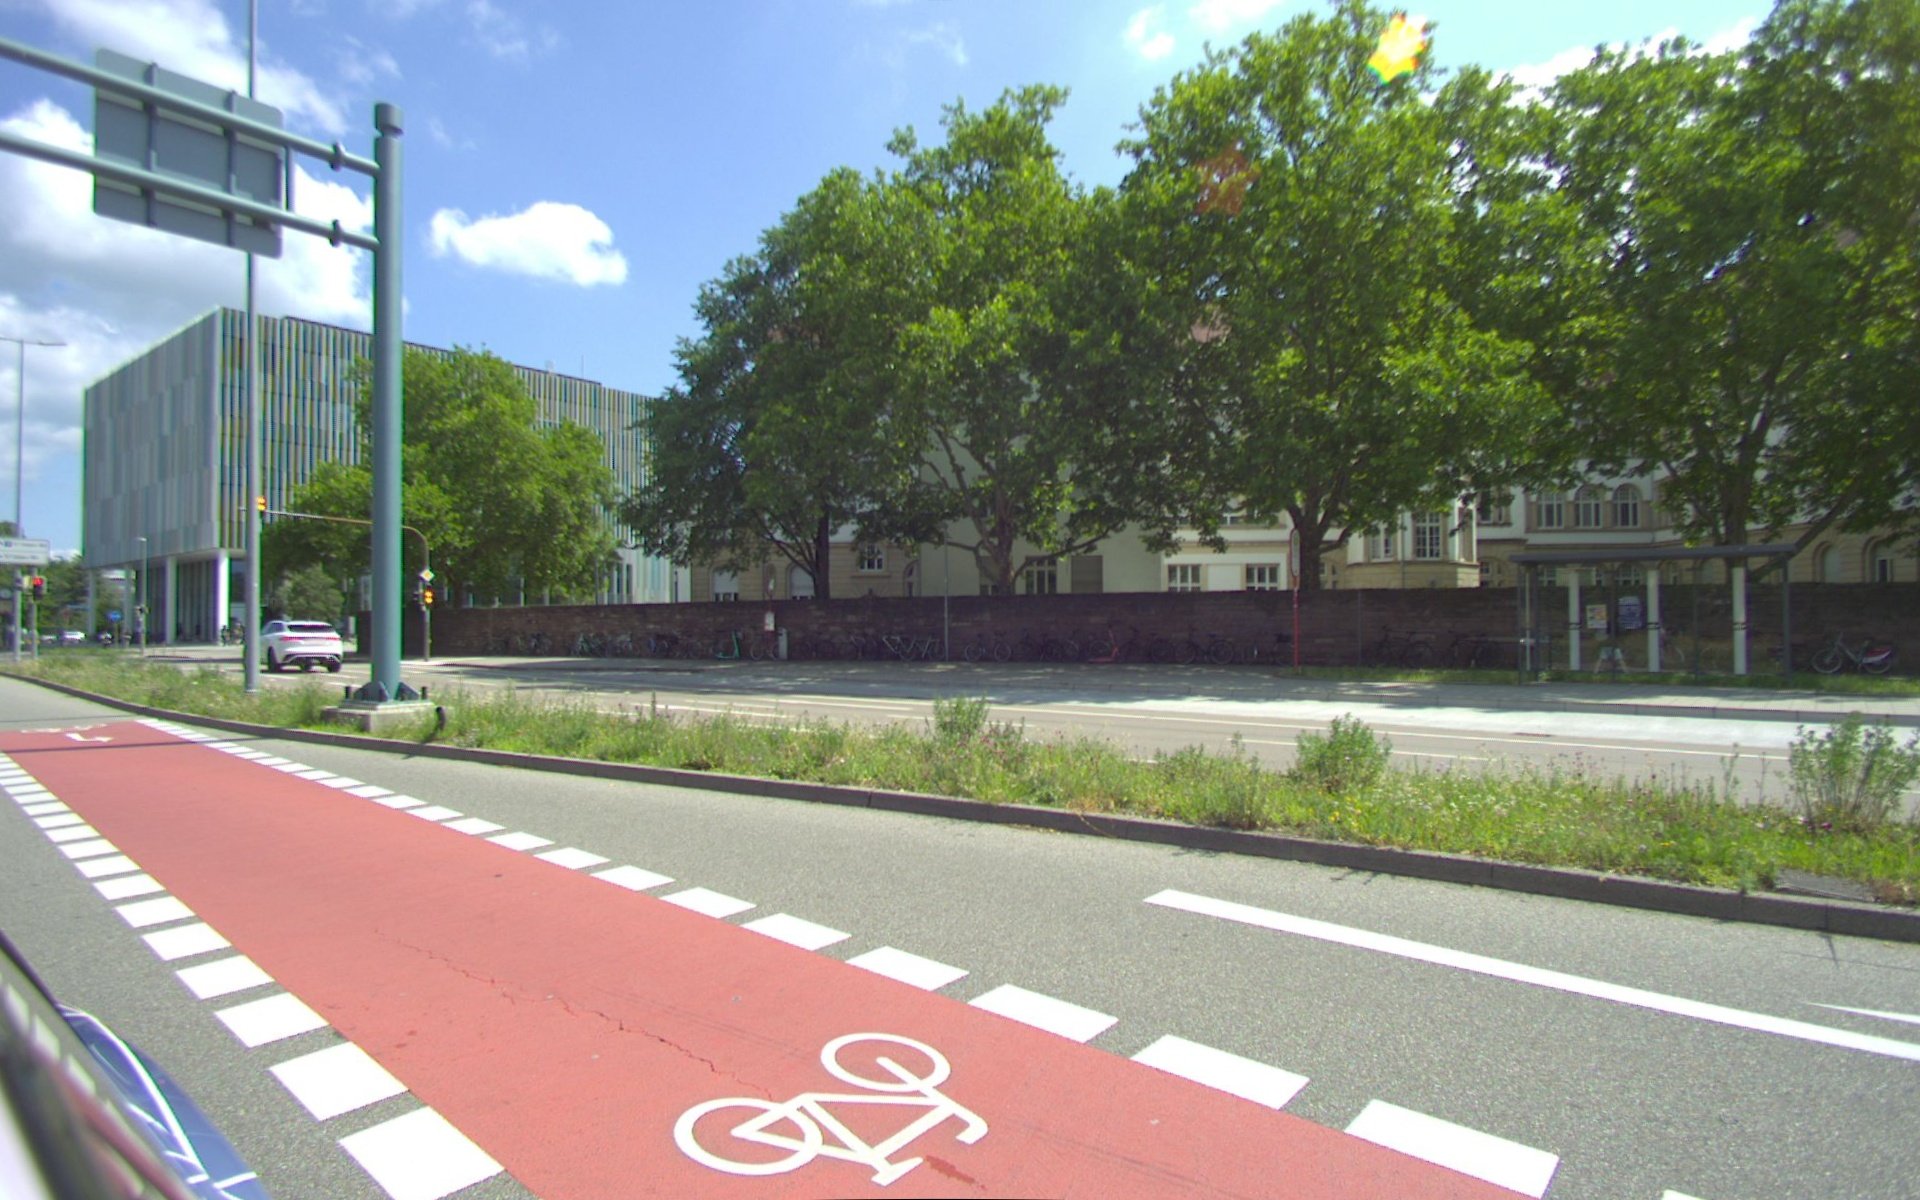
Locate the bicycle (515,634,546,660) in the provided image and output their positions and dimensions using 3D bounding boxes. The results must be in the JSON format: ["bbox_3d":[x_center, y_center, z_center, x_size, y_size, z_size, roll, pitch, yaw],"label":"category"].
[{"bbox_3d":[-19.397,2.125,45.687,1.589,1.161,0.495,-2,-2,33],"label":"bicycle"}]

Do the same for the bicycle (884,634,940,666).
[{"bbox_3d":[-1.647,1.698,34.421,1.887,1.055,0.540,-2,-2,29],"label":"bicycle"}]

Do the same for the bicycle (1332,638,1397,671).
[{"bbox_3d":[11.308,1.516,28.320,1.656,0.909,0.540,-1,-2,26],"label":"bicycle"}]

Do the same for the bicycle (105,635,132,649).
[{"bbox_3d":[-86.909,4.335,104.545,0.621,1.506,2.044,-2,-2,41],"label":"bicycle"}]

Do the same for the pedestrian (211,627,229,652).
[{"bbox_3d":[-58.370,3.132,79.840,0.955,1.940,0.882,0,-2,-20],"label":"pedestrian"}]

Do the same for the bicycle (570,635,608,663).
[{"bbox_3d":[-15.718,2.070,42.867,1.581,1.161,0.400,-1,-2,18],"label":"bicycle"}]

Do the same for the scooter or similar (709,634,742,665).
[{"bbox_3d":[-8.783,1.858,37.888,1.184,1.161,0.430,-1,-2,20],"label":"scooter or similar"}]

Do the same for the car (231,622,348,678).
[{"bbox_3d":[-21.931,1.590,33.030,4.774,1.680,2.049,-2,-2,42],"label":"car"}]

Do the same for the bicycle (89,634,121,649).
[{"bbox_3d":[-89.946,4.372,106.486,0.621,1.506,2.479,-2,-2,41],"label":"bicycle"}]

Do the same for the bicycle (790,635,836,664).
[{"bbox_3d":[-5.334,1.795,36.673,1.795,1.016,0.476,-2,-2,32],"label":"bicycle"}]

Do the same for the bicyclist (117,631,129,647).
[{"bbox_3d":[-66.647,3.083,80.574,0.833,1.235,0.610,-2,-2,39],"label":"bicyclist"}]

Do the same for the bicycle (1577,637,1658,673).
[{"bbox_3d":[17.041,1.431,26.247,1.653,0.909,0.541,-1,-2,21],"label":"bicycle"}]

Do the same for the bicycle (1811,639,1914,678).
[{"bbox_3d":[21.958,1.419,24.656,1.781,0.909,0.450,-1,-2,21],"label":"bicycle"}]

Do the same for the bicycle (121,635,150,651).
[{"bbox_3d":[-81.964,4.256,100.586,0.621,1.506,2.172,-2,-2,41],"label":"bicycle"}]

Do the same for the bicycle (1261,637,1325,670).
[{"bbox_3d":[9.491,1.522,28.879,1.663,0.909,0.497,-2,-2,38],"label":"bicycle"}]

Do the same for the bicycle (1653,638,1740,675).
[{"bbox_3d":[18.654,1.429,25.668,1.653,0.909,0.541,-1,-2,21],"label":"bicycle"}]

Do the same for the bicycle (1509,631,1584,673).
[{"bbox_3d":[15.378,1.356,26.584,1.614,1.059,0.541,-1,-2,24],"label":"bicycle"}]

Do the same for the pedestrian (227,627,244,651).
[{"bbox_3d":[-59.422,3.218,83.060,0.955,1.940,0.882,0,-2,-23],"label":"pedestrian"}]

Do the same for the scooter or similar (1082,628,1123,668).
[{"bbox_3d":[4.325,1.445,30.725,1.184,1.192,0.430,-1,-2,20],"label":"scooter or similar"}]

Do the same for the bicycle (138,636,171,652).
[{"bbox_3d":[-77.309,4.187,97.150,2.473,1.506,0.731,1,-2,-39],"label":"bicycle"}]

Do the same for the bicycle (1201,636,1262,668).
[{"bbox_3d":[7.978,1.522,29.797,1.656,0.909,0.540,-1,-2,26],"label":"bicycle"}]

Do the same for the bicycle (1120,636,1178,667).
[{"bbox_3d":[5.738,1.560,30.751,1.658,0.909,0.540,-2,-2,29],"label":"bicycle"}]

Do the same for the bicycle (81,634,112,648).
[{"bbox_3d":[-92.898,4.421,108.869,0.621,1.506,2.479,-2,-2,41],"label":"bicycle"}]

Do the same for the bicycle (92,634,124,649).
[{"bbox_3d":[-89.116,4.362,105.901,0.621,1.506,2.479,-2,-2,41],"label":"bicycle"}]

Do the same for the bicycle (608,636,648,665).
[{"bbox_3d":[-13.607,2.070,41.489,1.576,1.161,0.401,-1,-2,8],"label":"bicycle"}]

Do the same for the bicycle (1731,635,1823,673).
[{"bbox_3d":[20.247,1.332,25.124,1.653,0.909,0.541,-1,-2,21],"label":"bicycle"}]

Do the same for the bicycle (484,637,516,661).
[{"bbox_3d":[-21.262,2.267,46.755,1.589,1.107,0.567,-2,-2,33],"label":"bicycle"}]

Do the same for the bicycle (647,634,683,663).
[{"bbox_3d":[-11.787,1.944,40.443,1.587,1.161,0.398,-2,-2,30],"label":"bicycle"}]

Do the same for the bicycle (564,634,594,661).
[{"bbox_3d":[-16.509,2.058,43.846,1.591,1.161,0.408,-2,-2,36],"label":"bicycle"}]

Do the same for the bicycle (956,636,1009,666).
[{"bbox_3d":[0.737,1.656,33.017,1.658,0.956,0.540,-2,-2,29],"label":"bicycle"}]

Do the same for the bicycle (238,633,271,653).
[{"bbox_3d":[-58.682,3.555,84.206,0.797,1.656,3.420,0,-2,-8],"label":"bicycle"}]

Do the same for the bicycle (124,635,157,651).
[{"bbox_3d":[-79.714,4.213,98.455,0.621,1.506,2.479,-2,-2,41],"label":"bicycle"}]

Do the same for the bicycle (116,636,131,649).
[{"bbox_3d":[-66.618,3.404,80.577,2.163,1.006,0.638,-2,-2,42],"label":"bicycle"}]

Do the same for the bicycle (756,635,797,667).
[{"bbox_3d":[-6.813,1.890,37.555,1.587,1.151,0.429,-2,-2,29],"label":"bicycle"}]

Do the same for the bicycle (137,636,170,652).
[{"bbox_3d":[-76.730,4.170,96.278,0.621,1.506,2.420,-2,-2,41],"label":"bicycle"}]

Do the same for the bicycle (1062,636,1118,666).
[{"bbox_3d":[4.044,1.580,31.622,1.658,0.909,0.540,-1,-2,29],"label":"bicycle"}]

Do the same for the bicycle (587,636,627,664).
[{"bbox_3d":[-14.695,2.082,42.114,1.576,1.161,0.401,-1,-2,8],"label":"bicycle"}]

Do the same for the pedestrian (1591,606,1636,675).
[{"bbox_3d":[15.839,0.976,24.540,0.752,1.629,0.612,-1,-1,20],"label":"pedestrian"}]

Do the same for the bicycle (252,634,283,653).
[{"bbox_3d":[-57.638,3.642,84.304,0.919,1.505,2.690,0,-1,-4],"label":"bicycle"}]

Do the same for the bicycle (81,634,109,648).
[{"bbox_3d":[-94.273,4.450,110.318,0.656,1.506,2.273,-2,-2,41],"label":"bicycle"}]

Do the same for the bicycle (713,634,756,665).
[{"bbox_3d":[-8.585,1.873,38.494,1.582,1.161,0.530,-1,-2,19],"label":"bicycle"}]

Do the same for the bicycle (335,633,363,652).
[{"bbox_3d":[-51.121,3.521,84.669,0.983,1.564,3.423,0,-2,-13],"label":"bicycle"}]

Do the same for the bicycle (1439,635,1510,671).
[{"bbox_3d":[13.850,1.420,27.294,1.655,0.959,0.541,-1,-2,24],"label":"bicycle"}]

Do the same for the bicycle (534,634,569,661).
[{"bbox_3d":[-18.039,2.099,44.689,1.589,1.161,0.616,-2,-2,33],"label":"bicycle"}]

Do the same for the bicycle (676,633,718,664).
[{"bbox_3d":[-10.207,1.888,39.266,1.582,1.161,0.530,-1,-2,19],"label":"bicycle"}]

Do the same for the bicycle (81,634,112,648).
[{"bbox_3d":[-93.360,4.431,109.407,0.621,1.506,2.479,-2,-2,41],"label":"bicycle"}]

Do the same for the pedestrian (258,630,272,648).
[{"bbox_3d":[-65.529,3.664,95.423,0.997,1.720,1.214,0,-2,-29],"label":"pedestrian"}]

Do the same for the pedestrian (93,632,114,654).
[{"bbox_3d":[-63.444,3.177,74.964,0.876,1.641,0.961,-1,-2,31],"label":"pedestrian"}]

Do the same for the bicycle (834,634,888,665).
[{"bbox_3d":[-3.494,1.745,35.571,1.941,1.055,0.540,-2,-2,29],"label":"bicycle"}]
